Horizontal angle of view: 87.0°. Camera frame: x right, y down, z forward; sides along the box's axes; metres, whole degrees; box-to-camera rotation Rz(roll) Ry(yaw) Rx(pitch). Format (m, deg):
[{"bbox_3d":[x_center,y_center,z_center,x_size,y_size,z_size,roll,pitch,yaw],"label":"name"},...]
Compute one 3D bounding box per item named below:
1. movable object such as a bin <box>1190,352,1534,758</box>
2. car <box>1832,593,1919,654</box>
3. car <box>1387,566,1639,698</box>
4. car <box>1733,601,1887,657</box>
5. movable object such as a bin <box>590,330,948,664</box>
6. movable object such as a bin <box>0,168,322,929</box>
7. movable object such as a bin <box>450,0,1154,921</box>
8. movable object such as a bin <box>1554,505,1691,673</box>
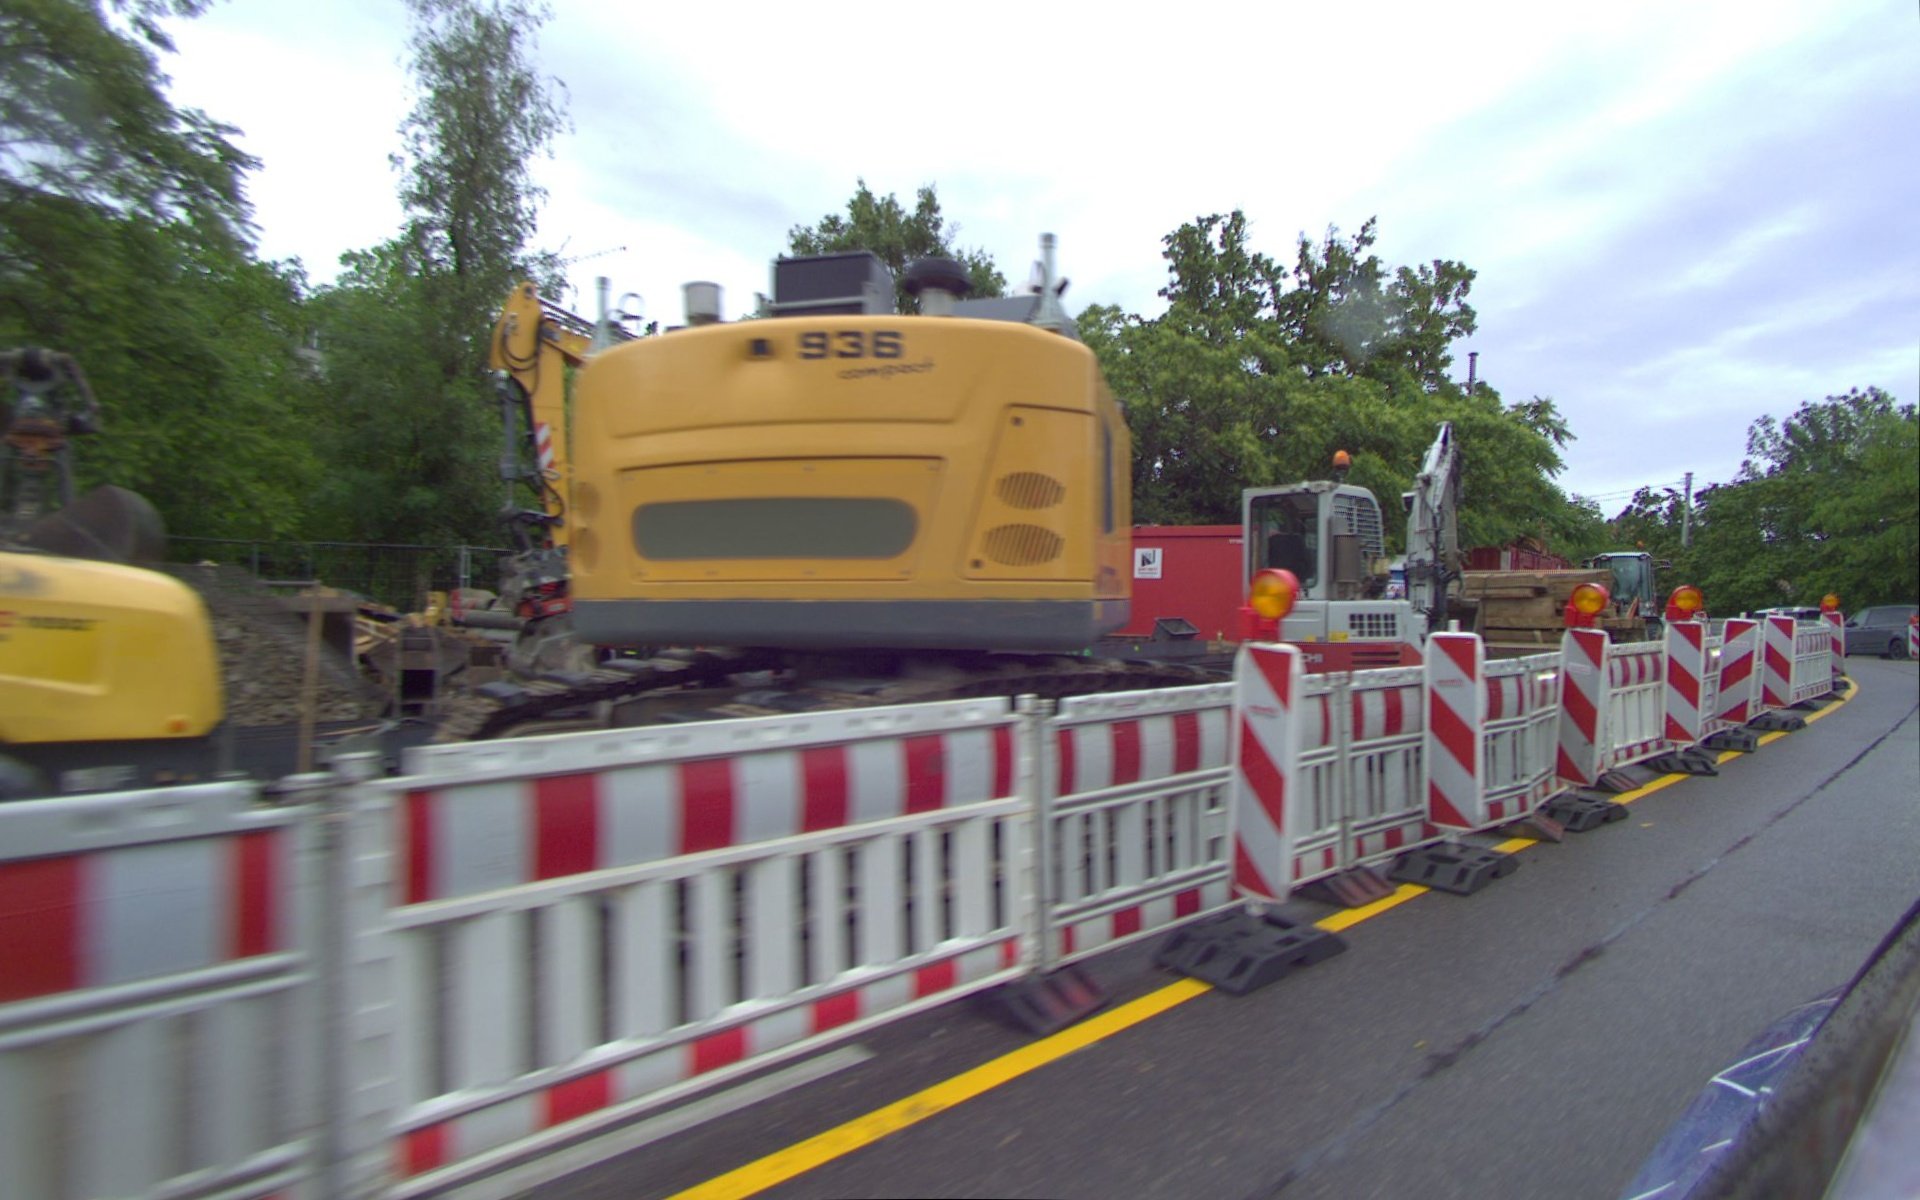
[{"bbox_3d":[4.236,-0.461,10.409,1.994,3.345,3.775,2,3,44],"label":"movable object such as a bin"},{"bbox_3d":[33.301,0.844,35.416,1.969,2.039,4.931,2,-1,11],"label":"car"},{"bbox_3d":[8.966,0.439,16.214,4.911,1.802,1.997,1,0,-42],"label":"car"},{"bbox_3d":[34.018,1.145,40.723,1.834,2.039,4.816,3,-1,-5],"label":"car"},{"bbox_3d":[-2.527,-1.209,14.219,4.540,3.938,1.995,1,0,-44],"label":"movable object such as a bin"},{"bbox_3d":[-5.728,-0.258,5.523,3.981,3.246,2.372,1,-6,39],"label":"movable object such as a bin"},{"bbox_3d":[0.219,-1.419,9.691,3.020,4.978,10.786,0,3,12],"label":"movable object such as a bin"},{"bbox_3d":[15.710,-0.106,23.847,2.073,3.269,5.204,0,-6,40],"label":"movable object such as a bin"}]
